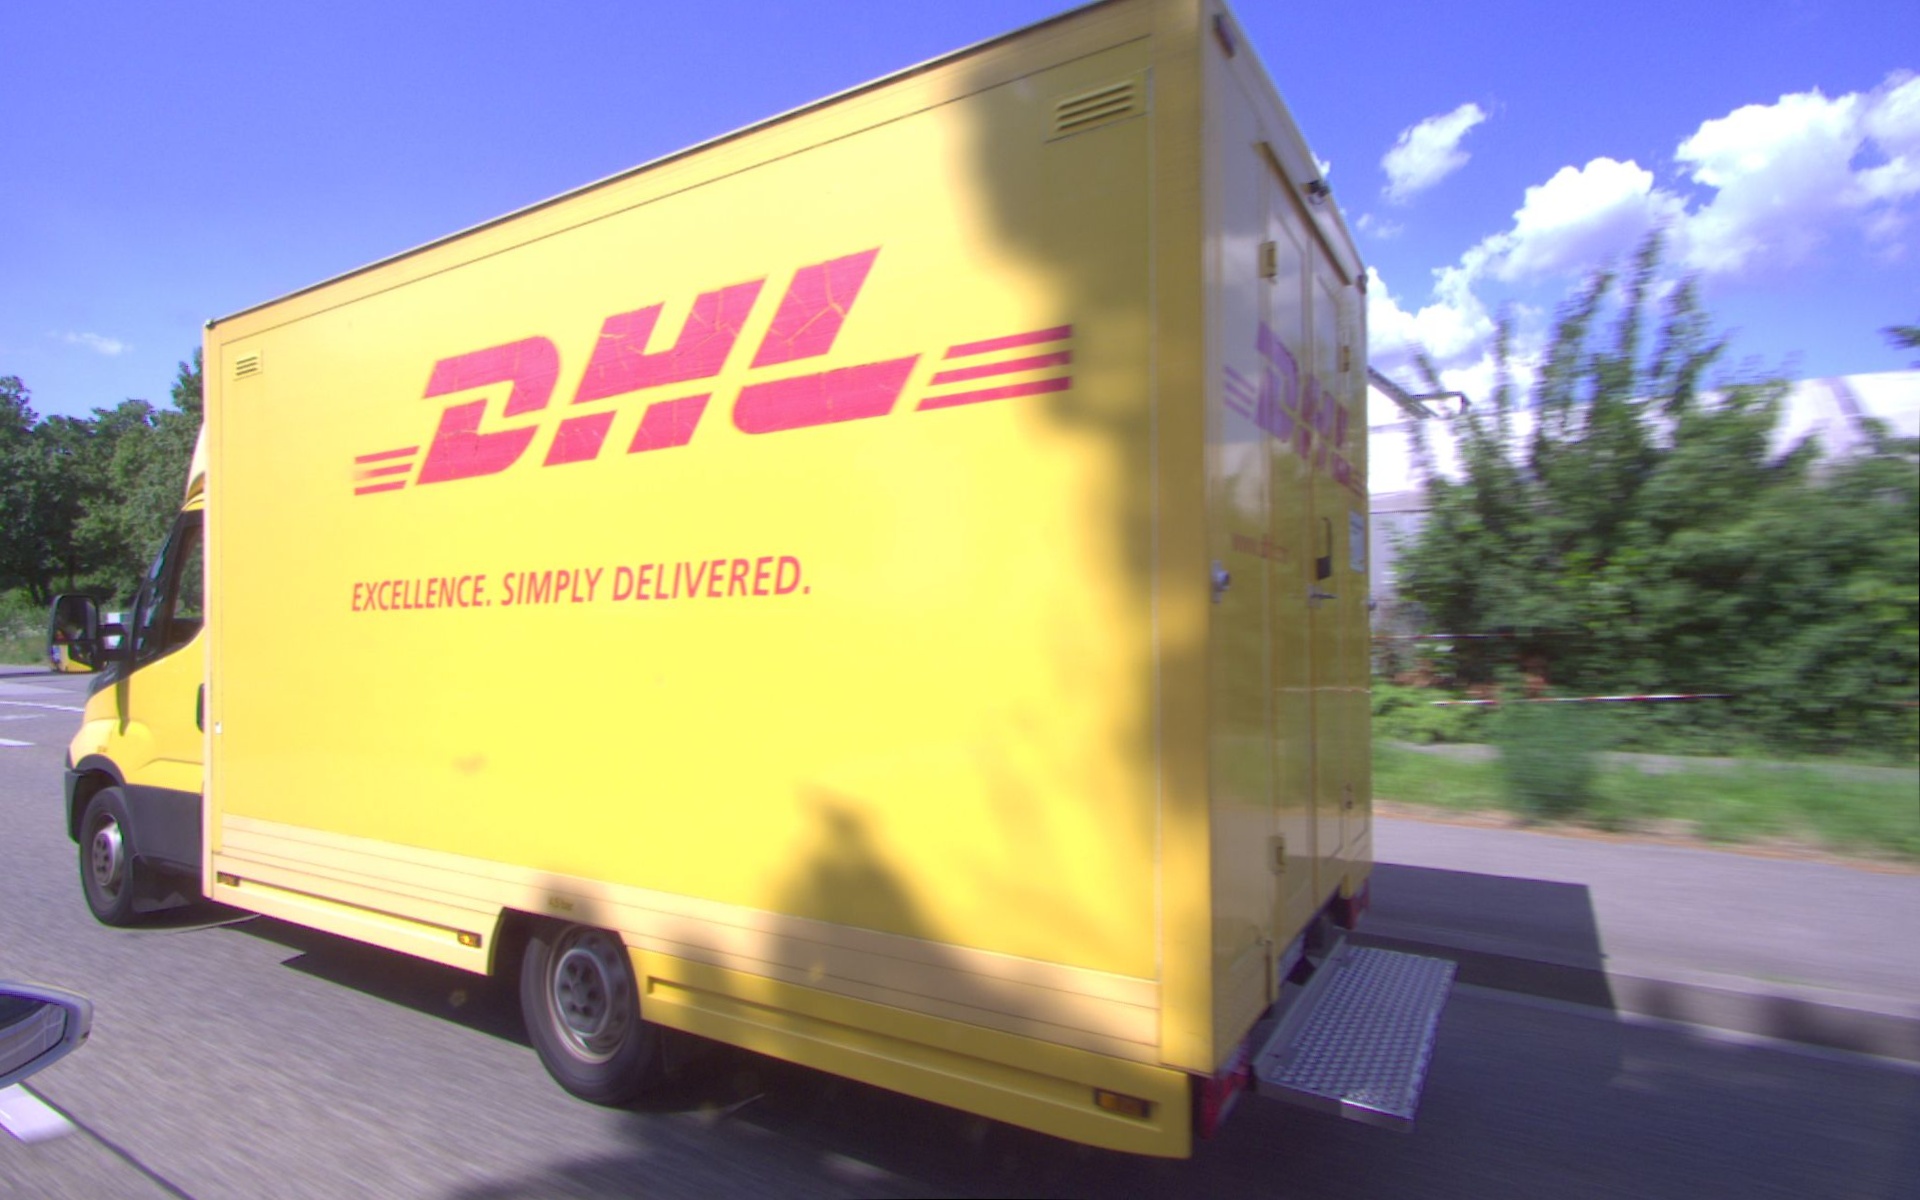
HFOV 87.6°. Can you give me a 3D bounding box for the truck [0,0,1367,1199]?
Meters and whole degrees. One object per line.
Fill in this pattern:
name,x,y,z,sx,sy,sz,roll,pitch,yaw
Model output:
truck,-2.363,0.144,4.980,7.909,2.917,2.262,-1,-1,31
